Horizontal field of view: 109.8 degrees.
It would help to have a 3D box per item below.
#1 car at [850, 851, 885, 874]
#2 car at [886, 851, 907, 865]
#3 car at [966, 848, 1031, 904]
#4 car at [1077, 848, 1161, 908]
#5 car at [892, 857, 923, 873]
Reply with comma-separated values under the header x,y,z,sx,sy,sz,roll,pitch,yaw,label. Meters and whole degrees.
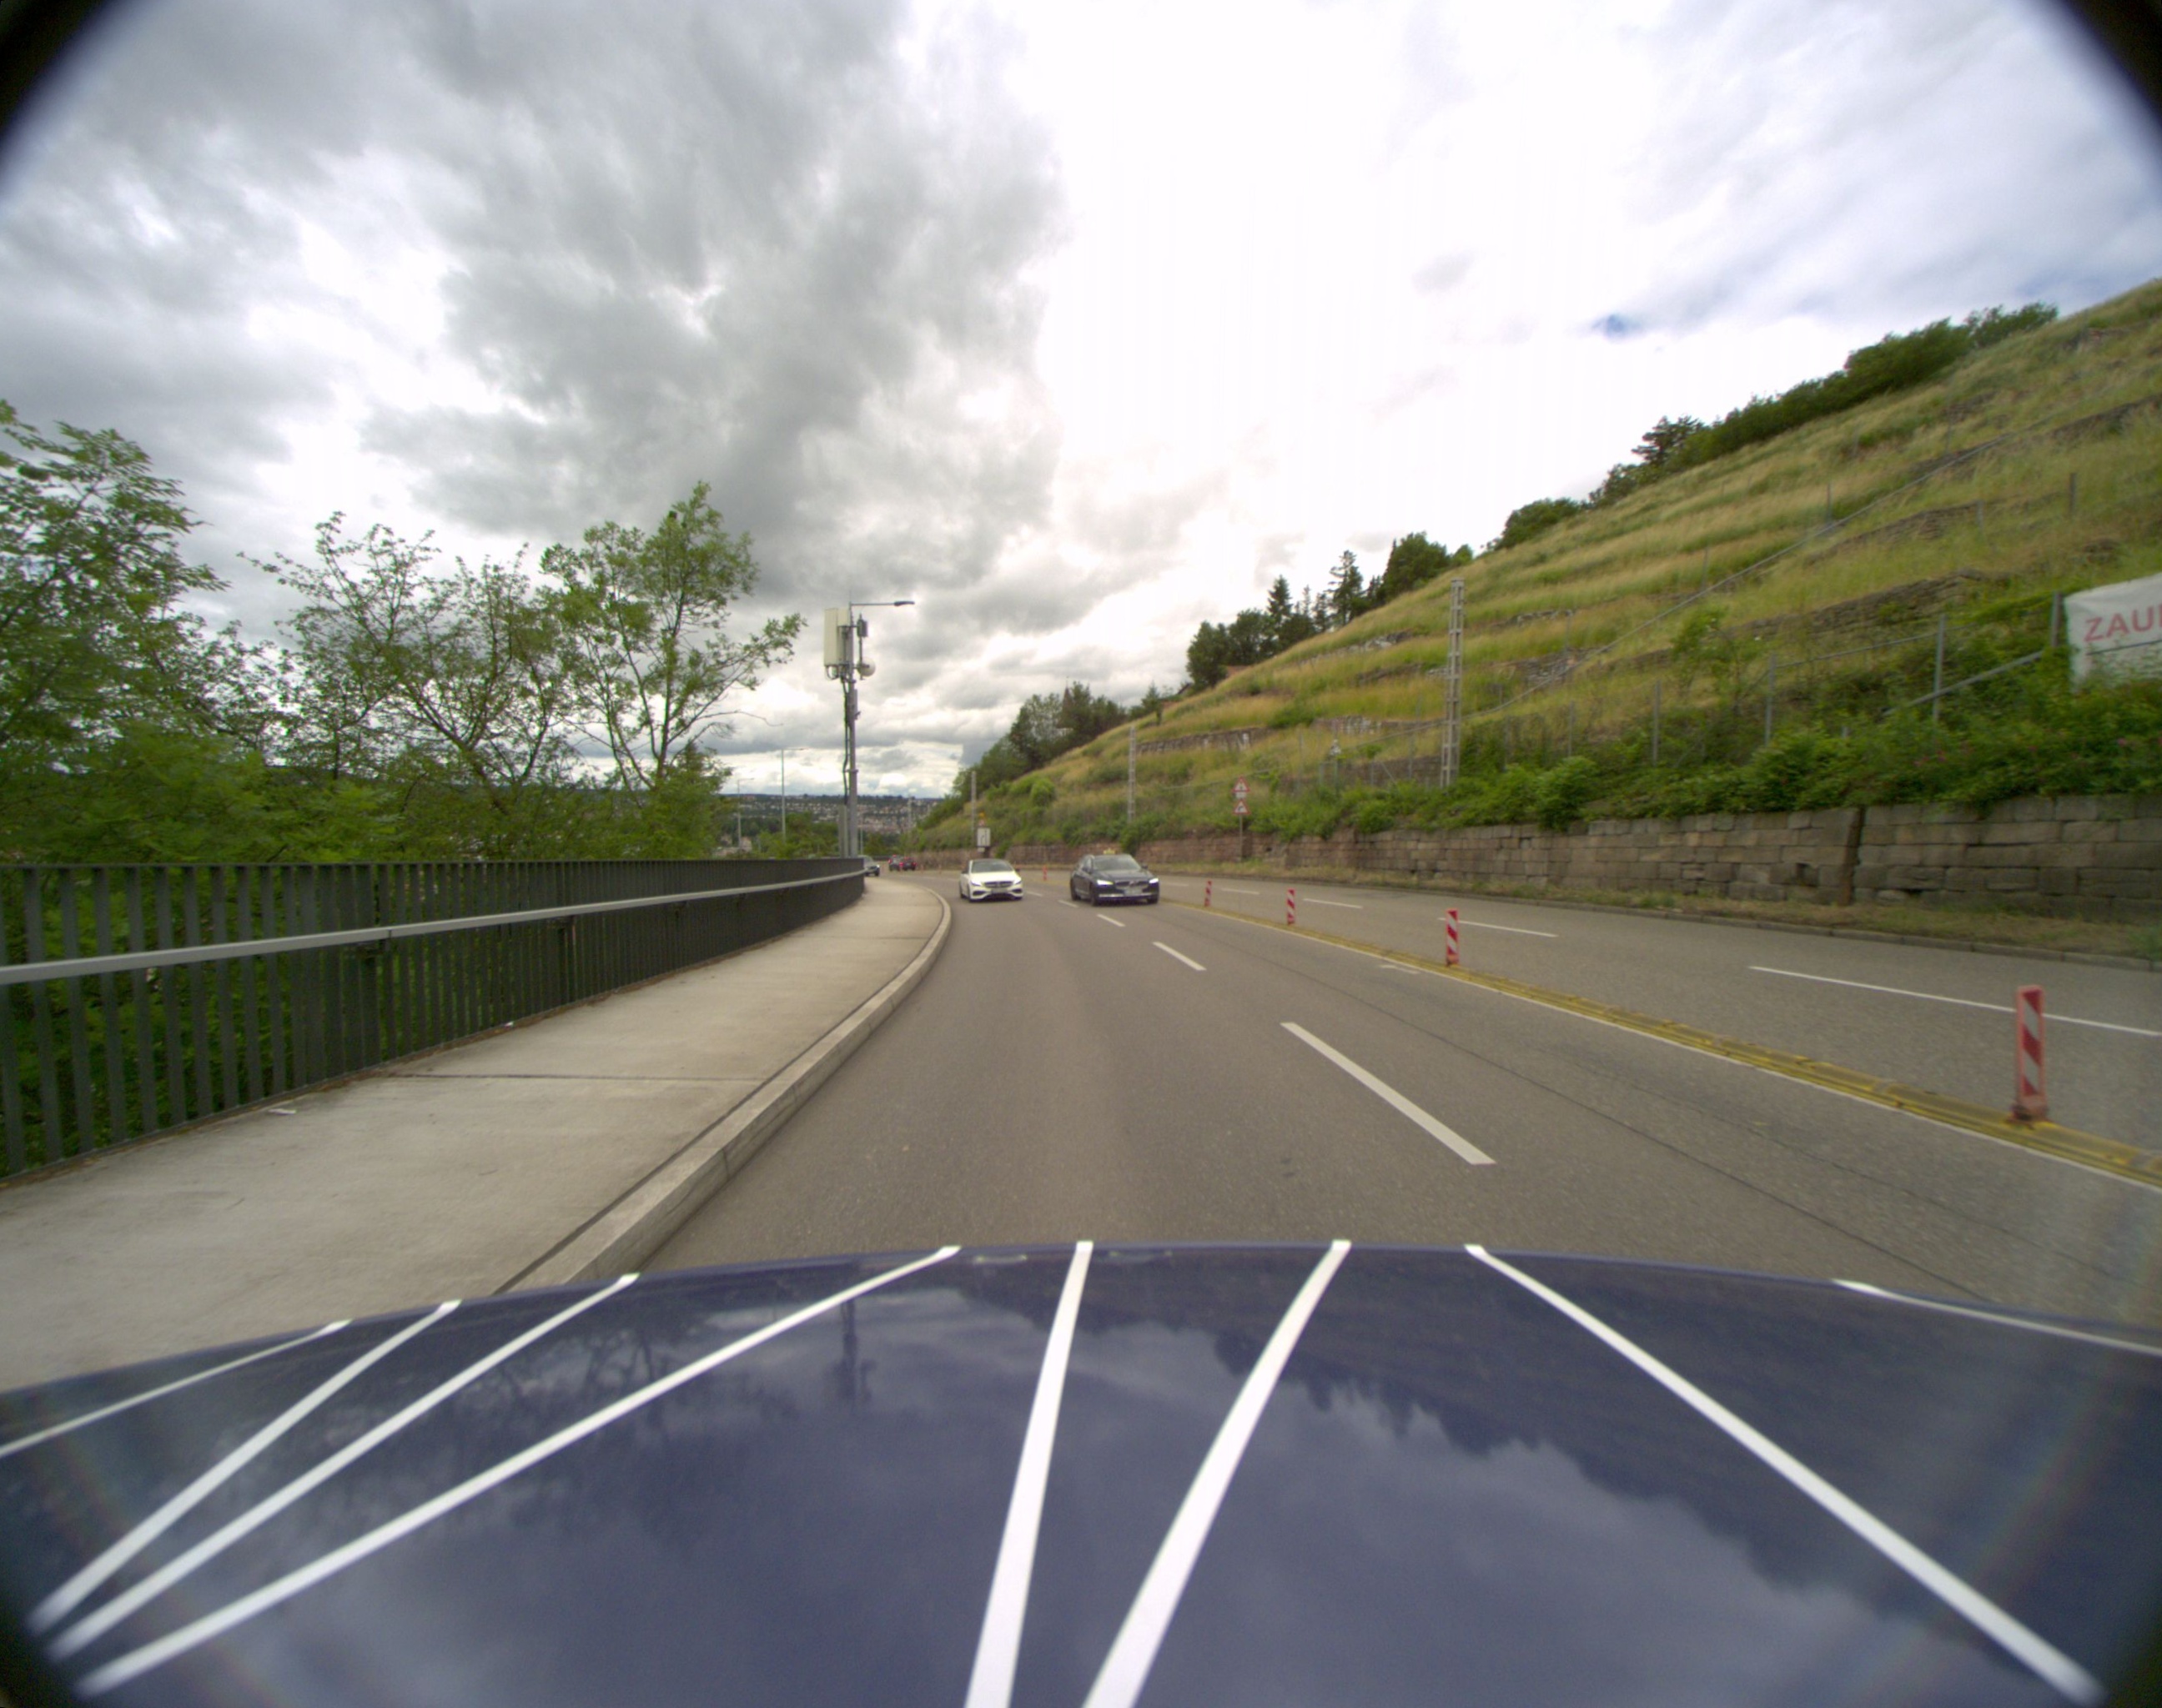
x,y,z,sx,sy,sz,roll,pitch,yaw,label
-16.650,0.645,59.136,2.002,1.661,4.529,-1,0,-23,car
-26.223,0.506,108.351,1.856,1.772,4.732,-3,1,-1,car
-2.830,0.700,26.665,1.999,1.708,3.998,-3,1,-5,car
1.021,0.622,22.375,1.901,1.485,4.139,-3,1,-4,car
-17.979,1.119,78.621,1.859,1.406,4.405,-5,3,-29,car
